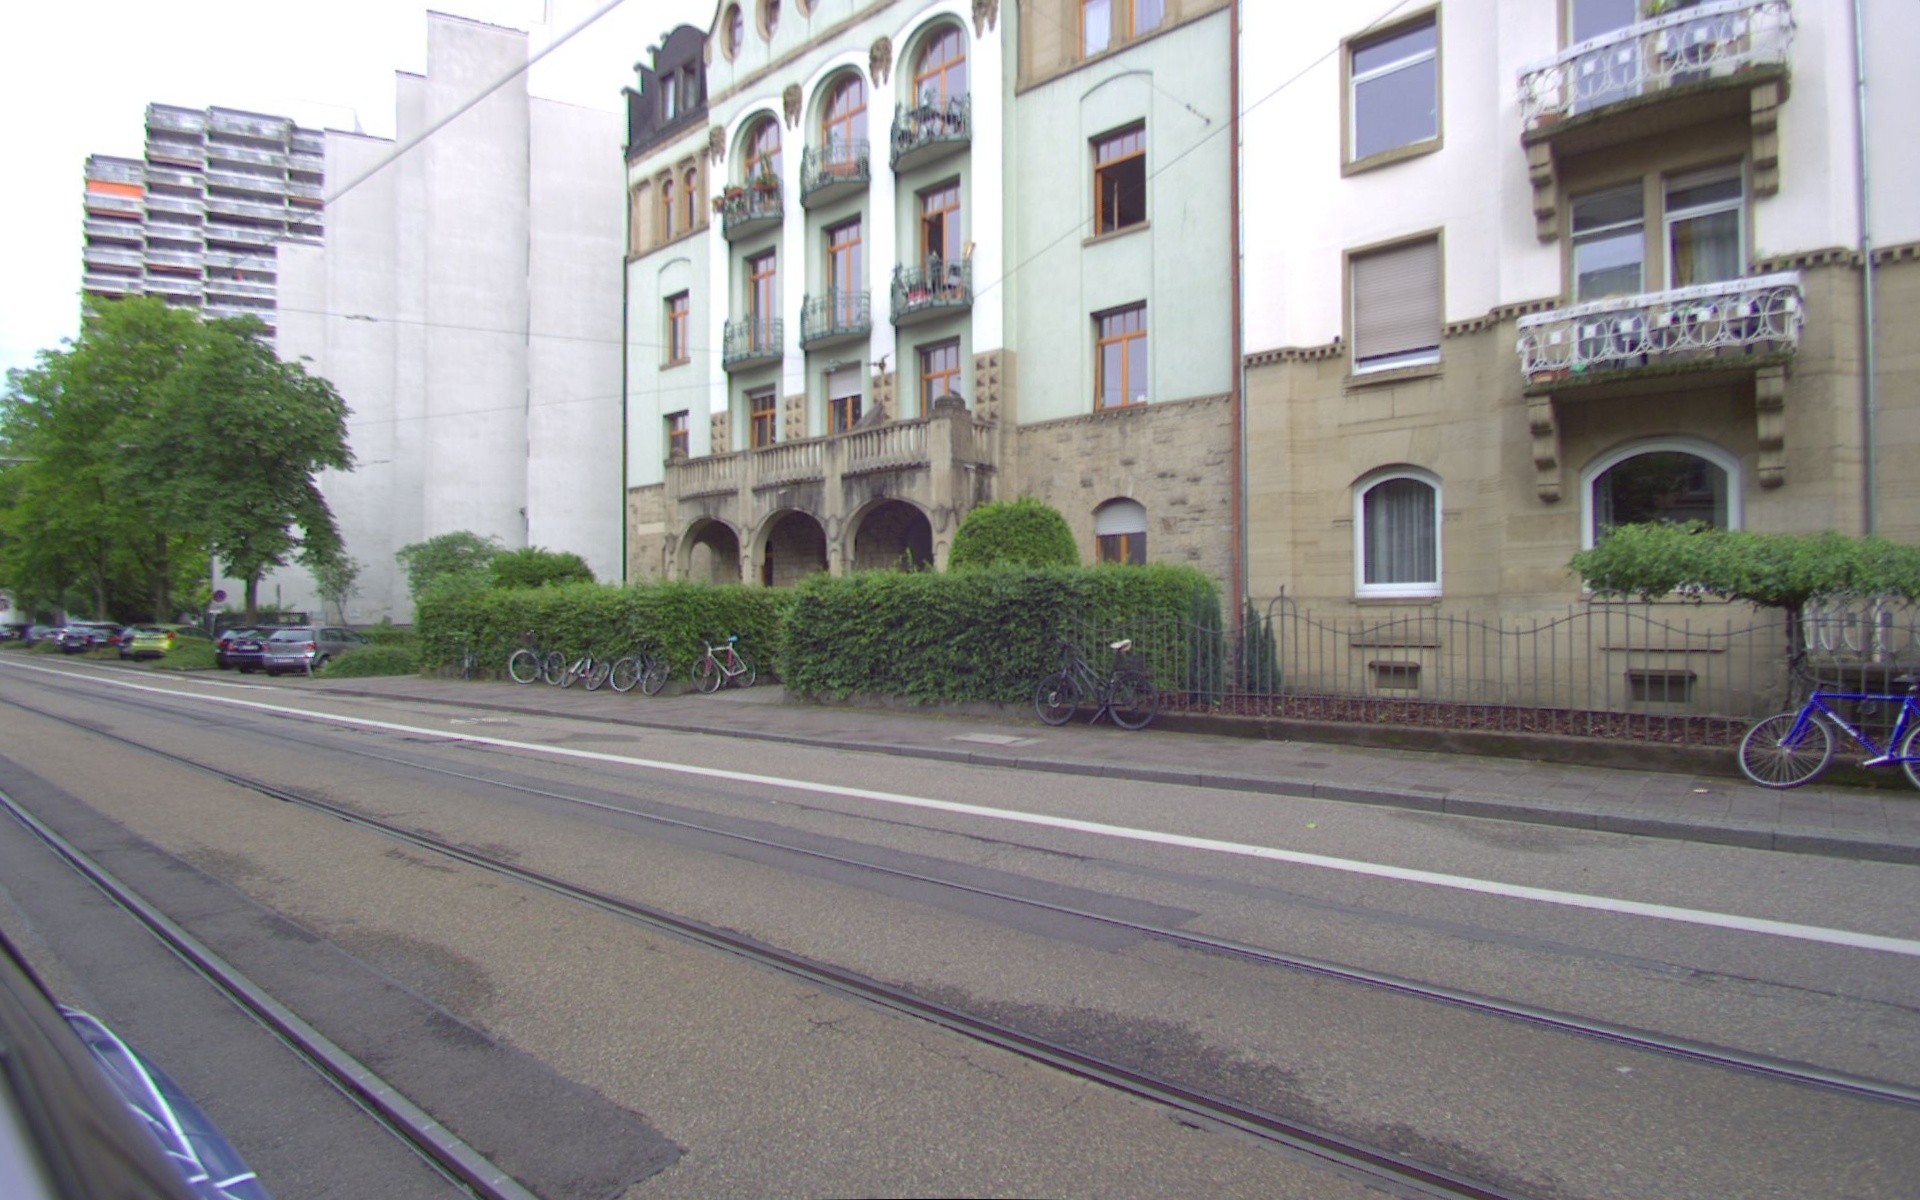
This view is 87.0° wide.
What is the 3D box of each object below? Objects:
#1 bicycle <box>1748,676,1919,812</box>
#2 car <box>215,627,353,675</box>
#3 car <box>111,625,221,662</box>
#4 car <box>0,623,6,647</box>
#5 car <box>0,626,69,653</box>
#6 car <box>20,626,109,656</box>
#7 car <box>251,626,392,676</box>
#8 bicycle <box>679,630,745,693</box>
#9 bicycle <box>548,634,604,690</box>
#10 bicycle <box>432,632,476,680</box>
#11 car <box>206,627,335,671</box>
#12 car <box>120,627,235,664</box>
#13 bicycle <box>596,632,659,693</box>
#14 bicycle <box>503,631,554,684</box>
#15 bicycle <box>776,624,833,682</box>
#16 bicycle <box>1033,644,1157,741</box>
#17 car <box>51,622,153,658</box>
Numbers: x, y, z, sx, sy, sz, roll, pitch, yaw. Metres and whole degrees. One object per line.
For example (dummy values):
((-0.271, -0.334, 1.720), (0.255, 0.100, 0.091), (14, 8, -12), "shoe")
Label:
((7.090, 1.097, 7.731), (1.661, 0.935, 0.354), (-3, -21, 43), "bicycle")
((-21.259, 1.579, 32.026), (1.672, 1.413, 3.999), (0, -1, 0), "car")
((-33.536, 1.808, 42.874), (1.670, 1.453, 4.003), (0, -1, -3), "car")
((-67.348, 2.446, 69.835), (3.995, 1.632, 1.673), (-1, -2, 39), "car")
((-58.840, 2.495, 63.967), (1.670, 1.632, 4.003), (0, -1, -3), "car")
((-51.127, 2.329, 57.874), (1.670, 1.632, 4.003), (0, -1, -3), "car")
((-18.991, 1.478, 30.328), (1.672, 1.413, 3.999), (0, -1, 0), "car")
((-4.598, 1.125, 18.795), (0.300, 1.091, 1.190), (-2, 0, 42), "bicycle")
((-7.688, 1.221, 20.234), (1.545, 1.092, 0.356), (-1, -2, 41), "bicycle")
((-11.950, 1.315, 23.893), (1.545, 1.092, 0.356), (-1, -2, 41), "bicycle")
((-23.351, 1.622, 34.456), (1.672, 1.413, 3.999), (0, -1, 0), "car")
((-31.365, 1.777, 40.719), (1.670, 1.405, 4.003), (0, -1, -3), "car")
((-6.227, 1.156, 18.918), (1.545, 1.092, 0.356), (-1, -2, 41), "bicycle")
((-9.265, 1.221, 21.698), (1.545, 1.092, 0.356), (-1, -2, 41), "bicycle")
((-3.150, 1.052, 20.526), (0.300, 1.091, 1.190), (-2, 0, 42), "bicycle")
((1.618, 1.097, 12.308), (1.545, 1.092, 0.356), (-1, -2, 41), "bicycle")
((-41.261, 1.891, 48.786), (1.670, 1.632, 4.003), (0, -1, -3), "car")
